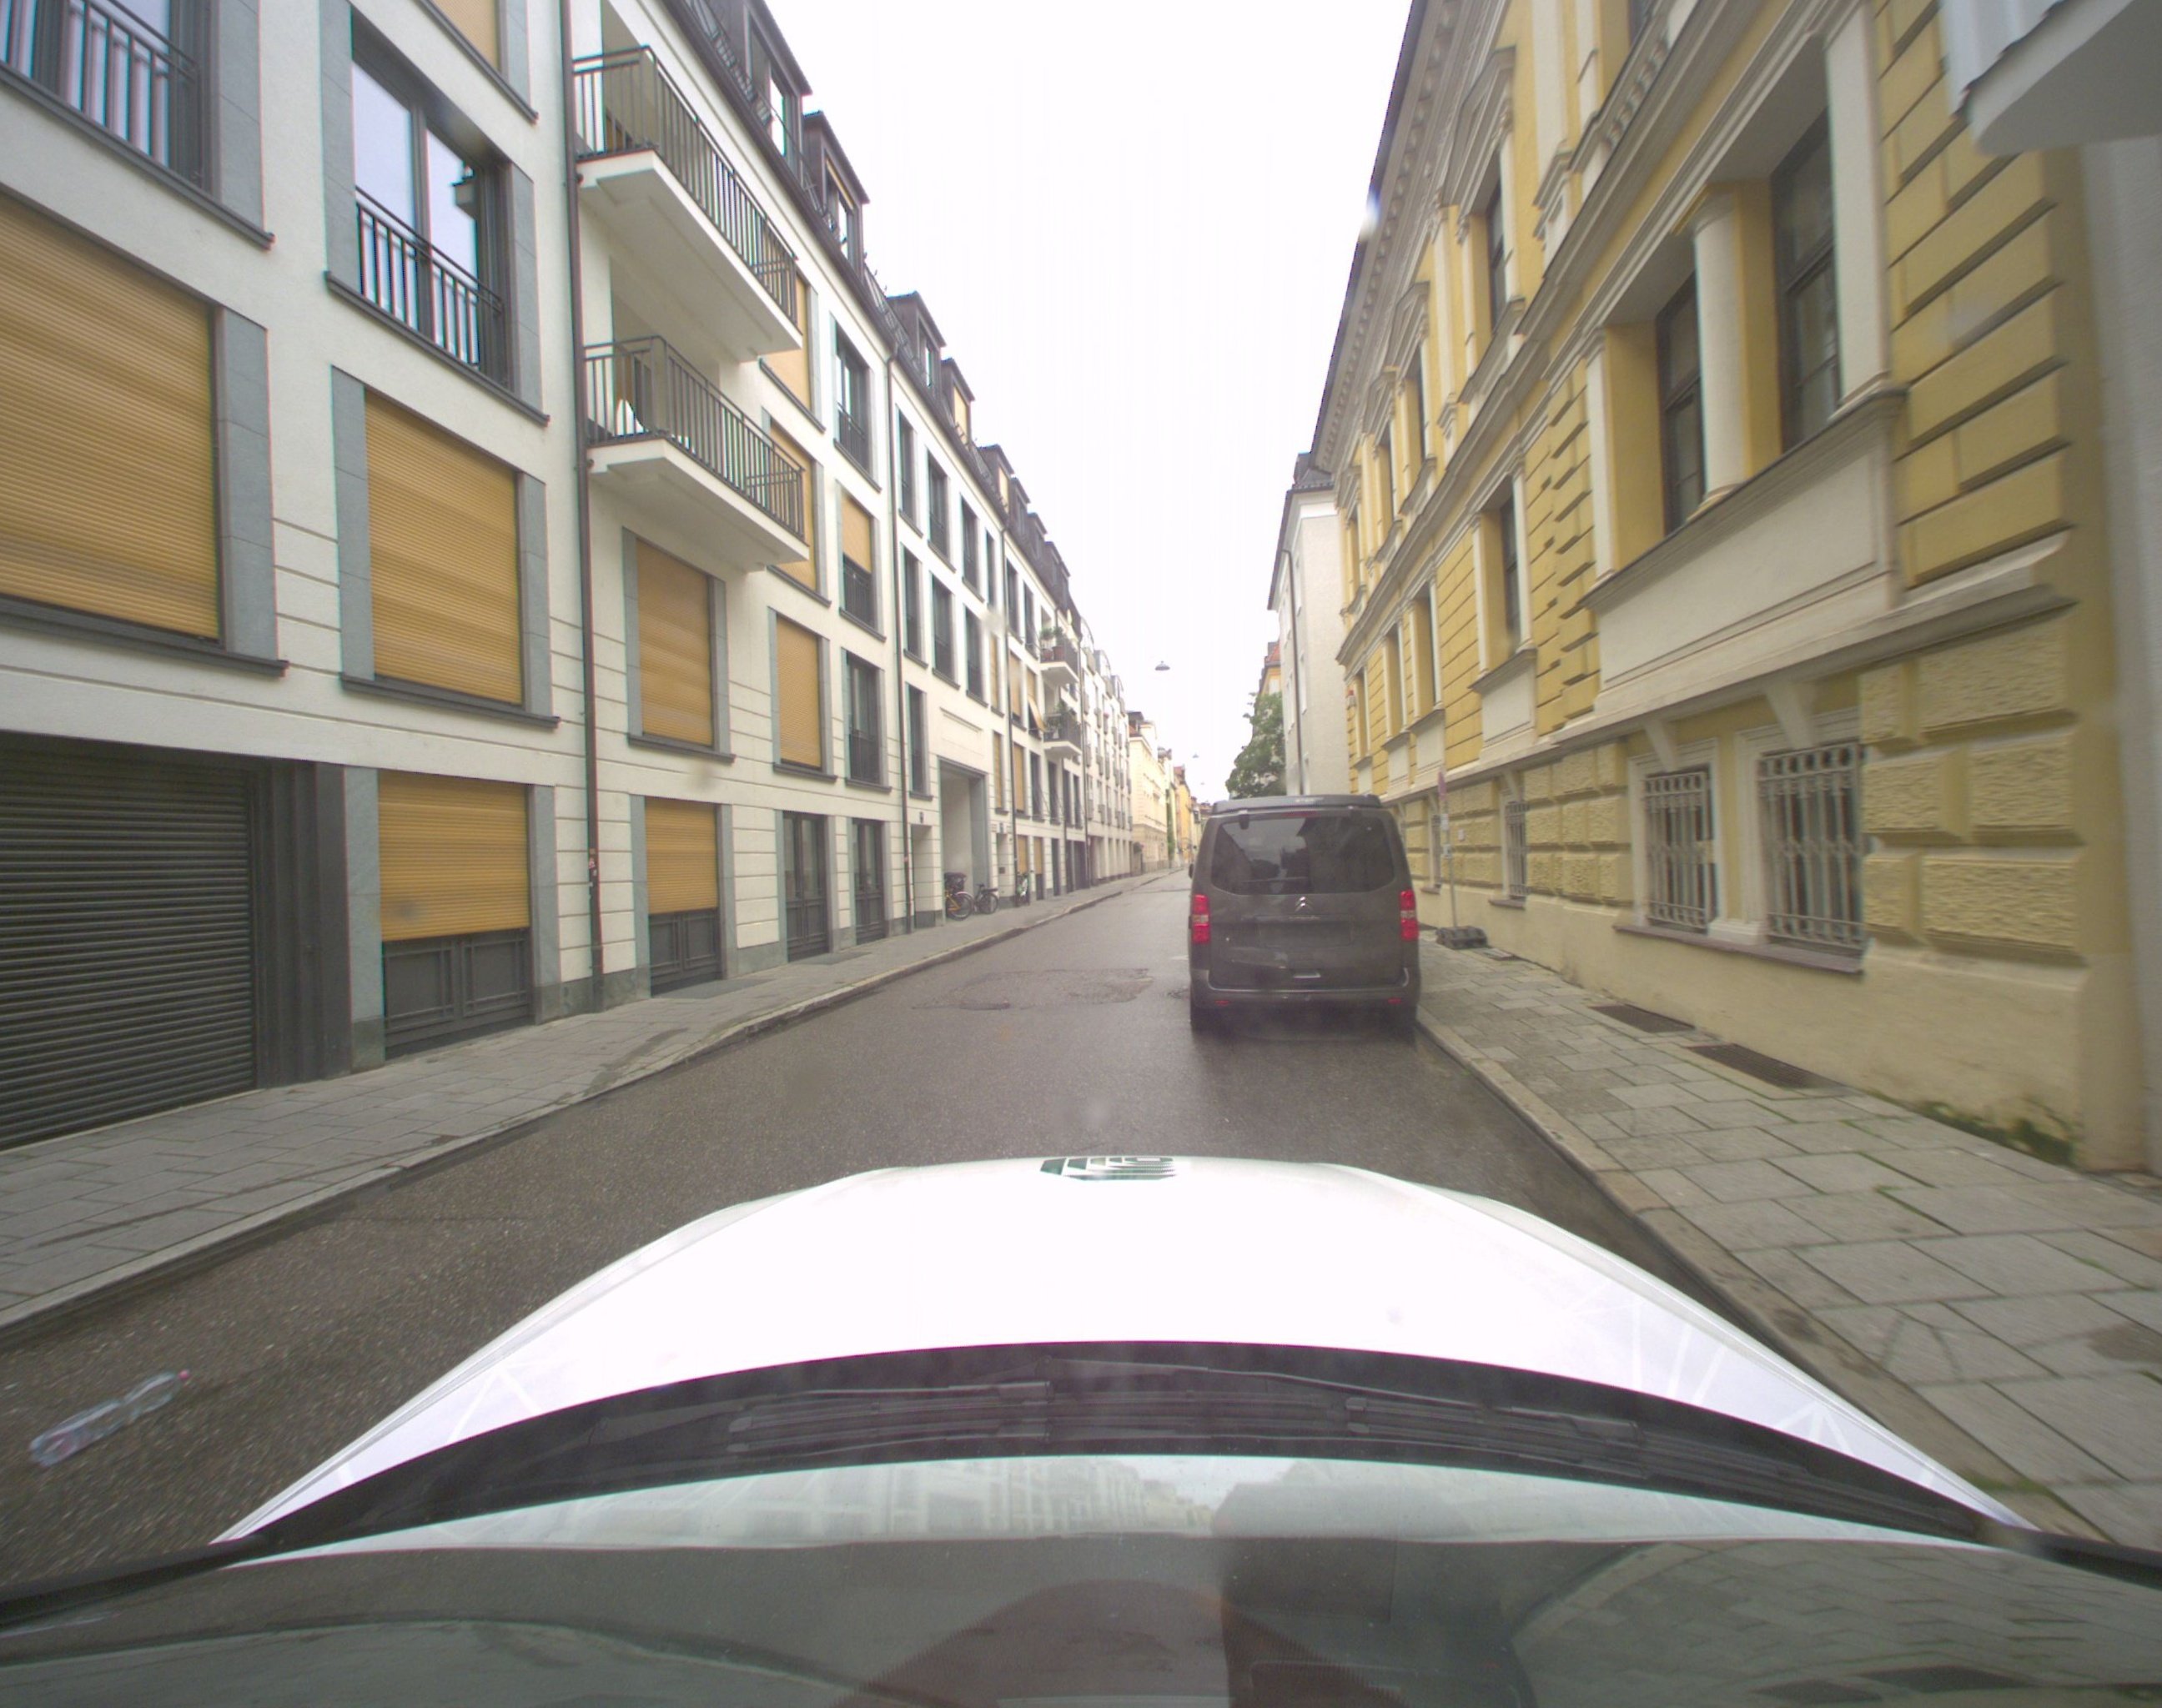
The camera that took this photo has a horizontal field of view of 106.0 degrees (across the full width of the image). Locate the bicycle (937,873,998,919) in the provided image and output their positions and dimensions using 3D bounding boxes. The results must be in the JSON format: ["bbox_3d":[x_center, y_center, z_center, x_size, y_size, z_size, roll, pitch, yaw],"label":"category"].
[{"bbox_3d":[-3.182,1.161,22.847,1.694,1.193,0.376,-2,1,-37],"label":"bicycle"}]

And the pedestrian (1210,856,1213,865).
[{"bbox_3d":[24.503,1.170,153.107,0.535,1.654,0.377,-3,0,9],"label":"pedestrian"}]

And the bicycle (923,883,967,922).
[{"bbox_3d":[-3.510,1.244,21.041,1.068,0.947,0.305,-2,1,-25],"label":"bicycle"}]

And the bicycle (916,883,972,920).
[{"bbox_3d":[-3.651,1.253,21.722,1.393,0.888,0.377,-2,1,-25],"label":"bicycle"}]

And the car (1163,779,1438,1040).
[{"bbox_3d":[2.001,0.427,8.474,1.982,1.932,4.671,-1,0,9],"label":"car"}]

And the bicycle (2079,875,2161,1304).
[{"bbox_3d":[3.056,0.636,1.334,0.634,1.153,1.921,-5,0,10],"label":"bicycle"}]

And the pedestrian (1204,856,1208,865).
[{"bbox_3d":[23.358,1.166,152.399,0.535,1.654,0.377,-3,0,9],"label":"pedestrian"}]

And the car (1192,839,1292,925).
[{"bbox_3d":[3.549,0.566,18.427,1.883,1.641,4.332,-3,0,9],"label":"car"}]

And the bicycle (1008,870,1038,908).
[{"bbox_3d":[-1.877,1.109,26.523,0.338,1.146,2.198,-3,-1,11],"label":"bicycle"}]

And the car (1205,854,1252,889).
[{"bbox_3d":[6.491,0.749,36.139,1.883,1.376,3.949,-3,0,9],"label":"car"}]
